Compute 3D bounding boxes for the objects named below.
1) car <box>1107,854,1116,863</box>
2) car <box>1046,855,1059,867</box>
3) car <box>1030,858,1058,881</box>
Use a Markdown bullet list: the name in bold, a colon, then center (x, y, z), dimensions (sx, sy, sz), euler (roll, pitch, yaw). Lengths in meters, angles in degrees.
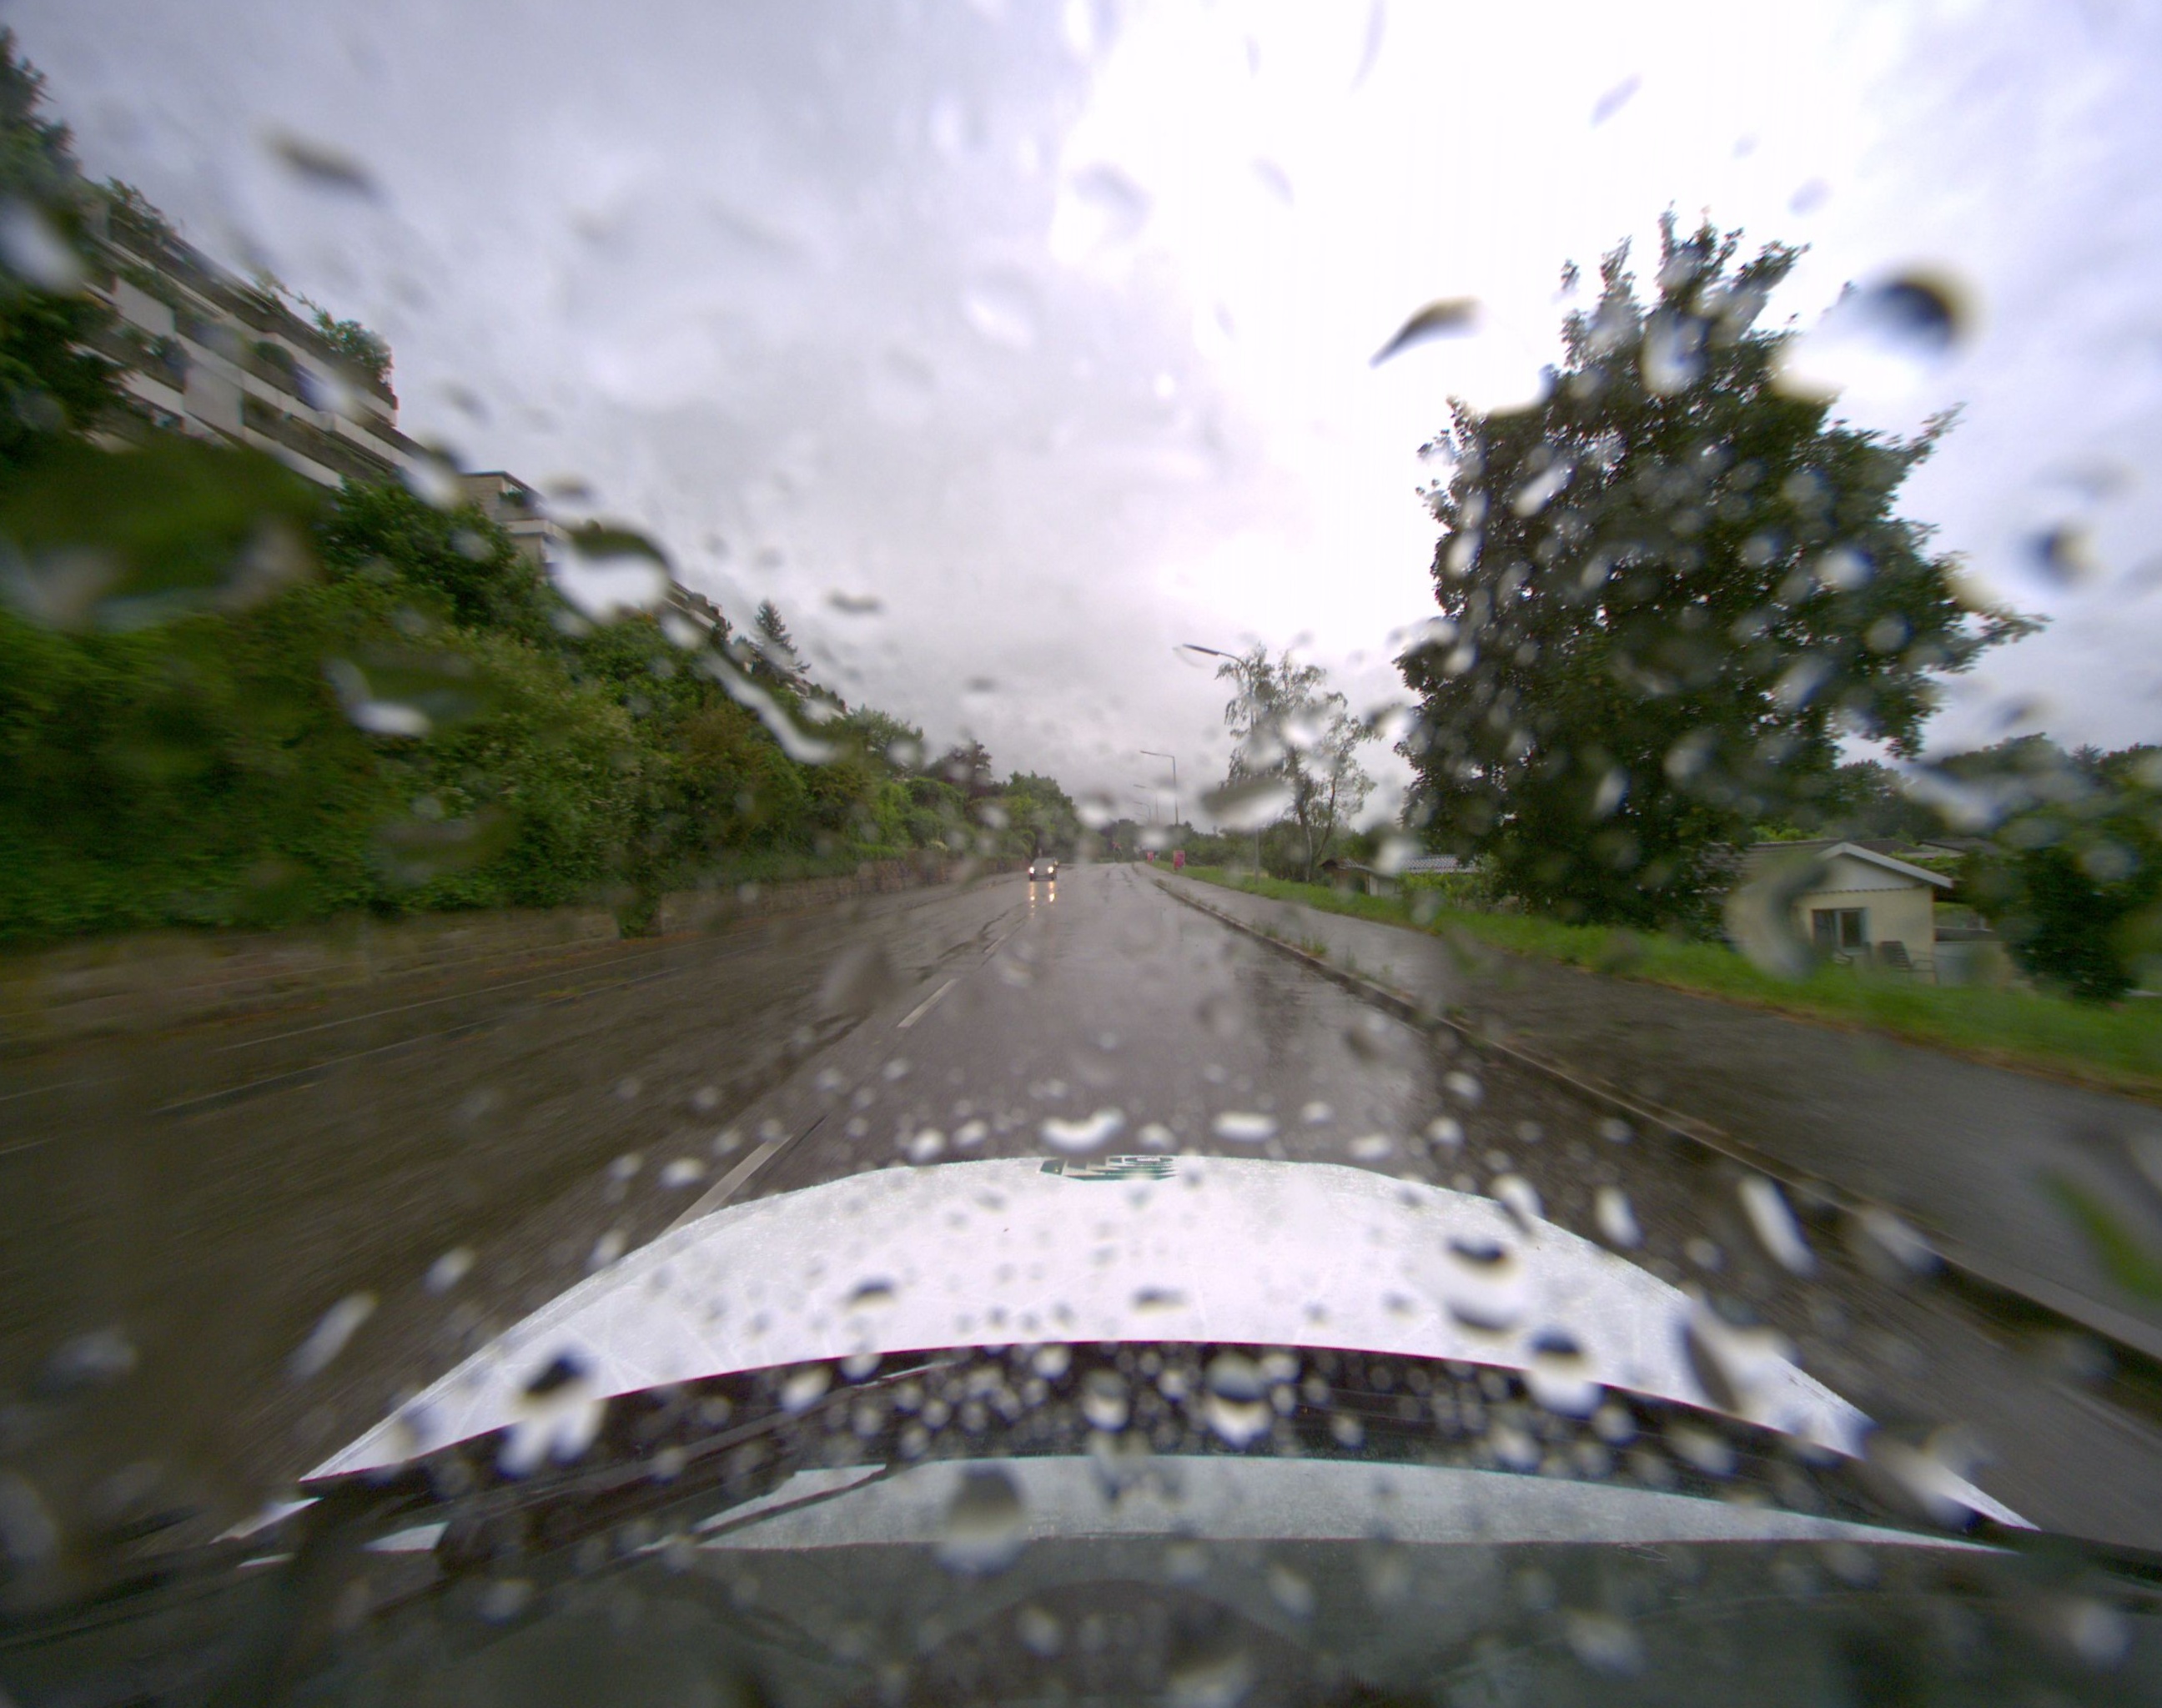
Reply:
- **car**: center (7.671, 1.119, 205.019), dimensions (1.986, 2.014, 4.001), euler (-1, -1, 1)
- **car**: center (-3.992, 1.002, 114.892), dimensions (1.722, 1.496, 3.985), euler (-2, 0, -1)
- **car**: center (-2.521, 1.059, 56.328), dimensions (1.754, 1.496, 4.126), euler (-2, 0, 0)
